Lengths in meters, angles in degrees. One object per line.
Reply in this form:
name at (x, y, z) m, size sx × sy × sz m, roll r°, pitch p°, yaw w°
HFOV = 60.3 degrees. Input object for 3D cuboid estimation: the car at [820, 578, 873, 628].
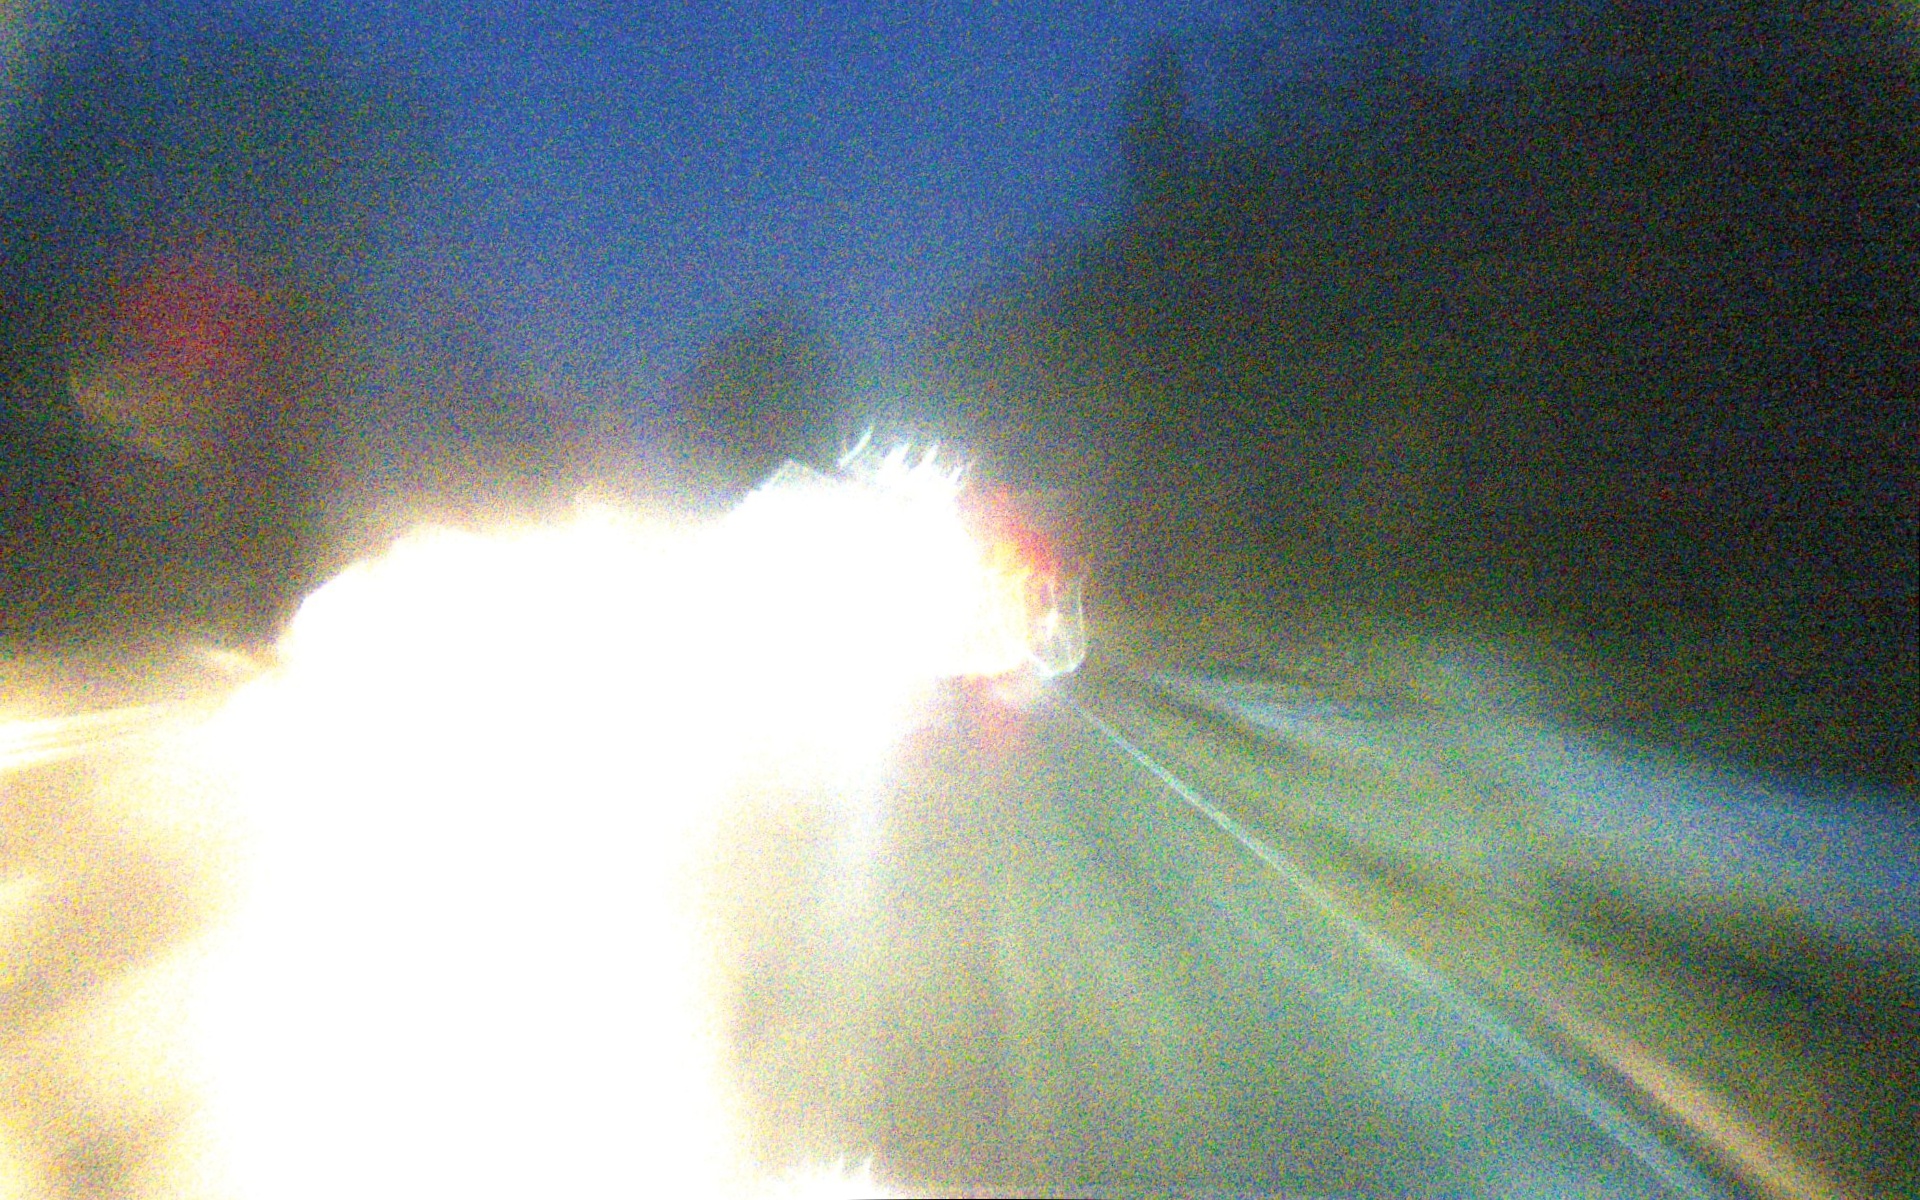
car at (-4.496, 0.098, 66.058) m, size 1.953 × 1.812 × 3.999 m, roll -2°, pitch 2°, yaw -2°

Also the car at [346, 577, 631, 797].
car at (-3.994, 0.644, 14.589) m, size 1.601 × 1.608 × 3.743 m, roll 0°, pitch 2°, yaw -3°

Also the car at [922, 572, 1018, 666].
car at (0.170, 0.349, 35.365) m, size 1.953 × 1.838 × 3.917 m, roll 0°, pitch 2°, yaw -1°
